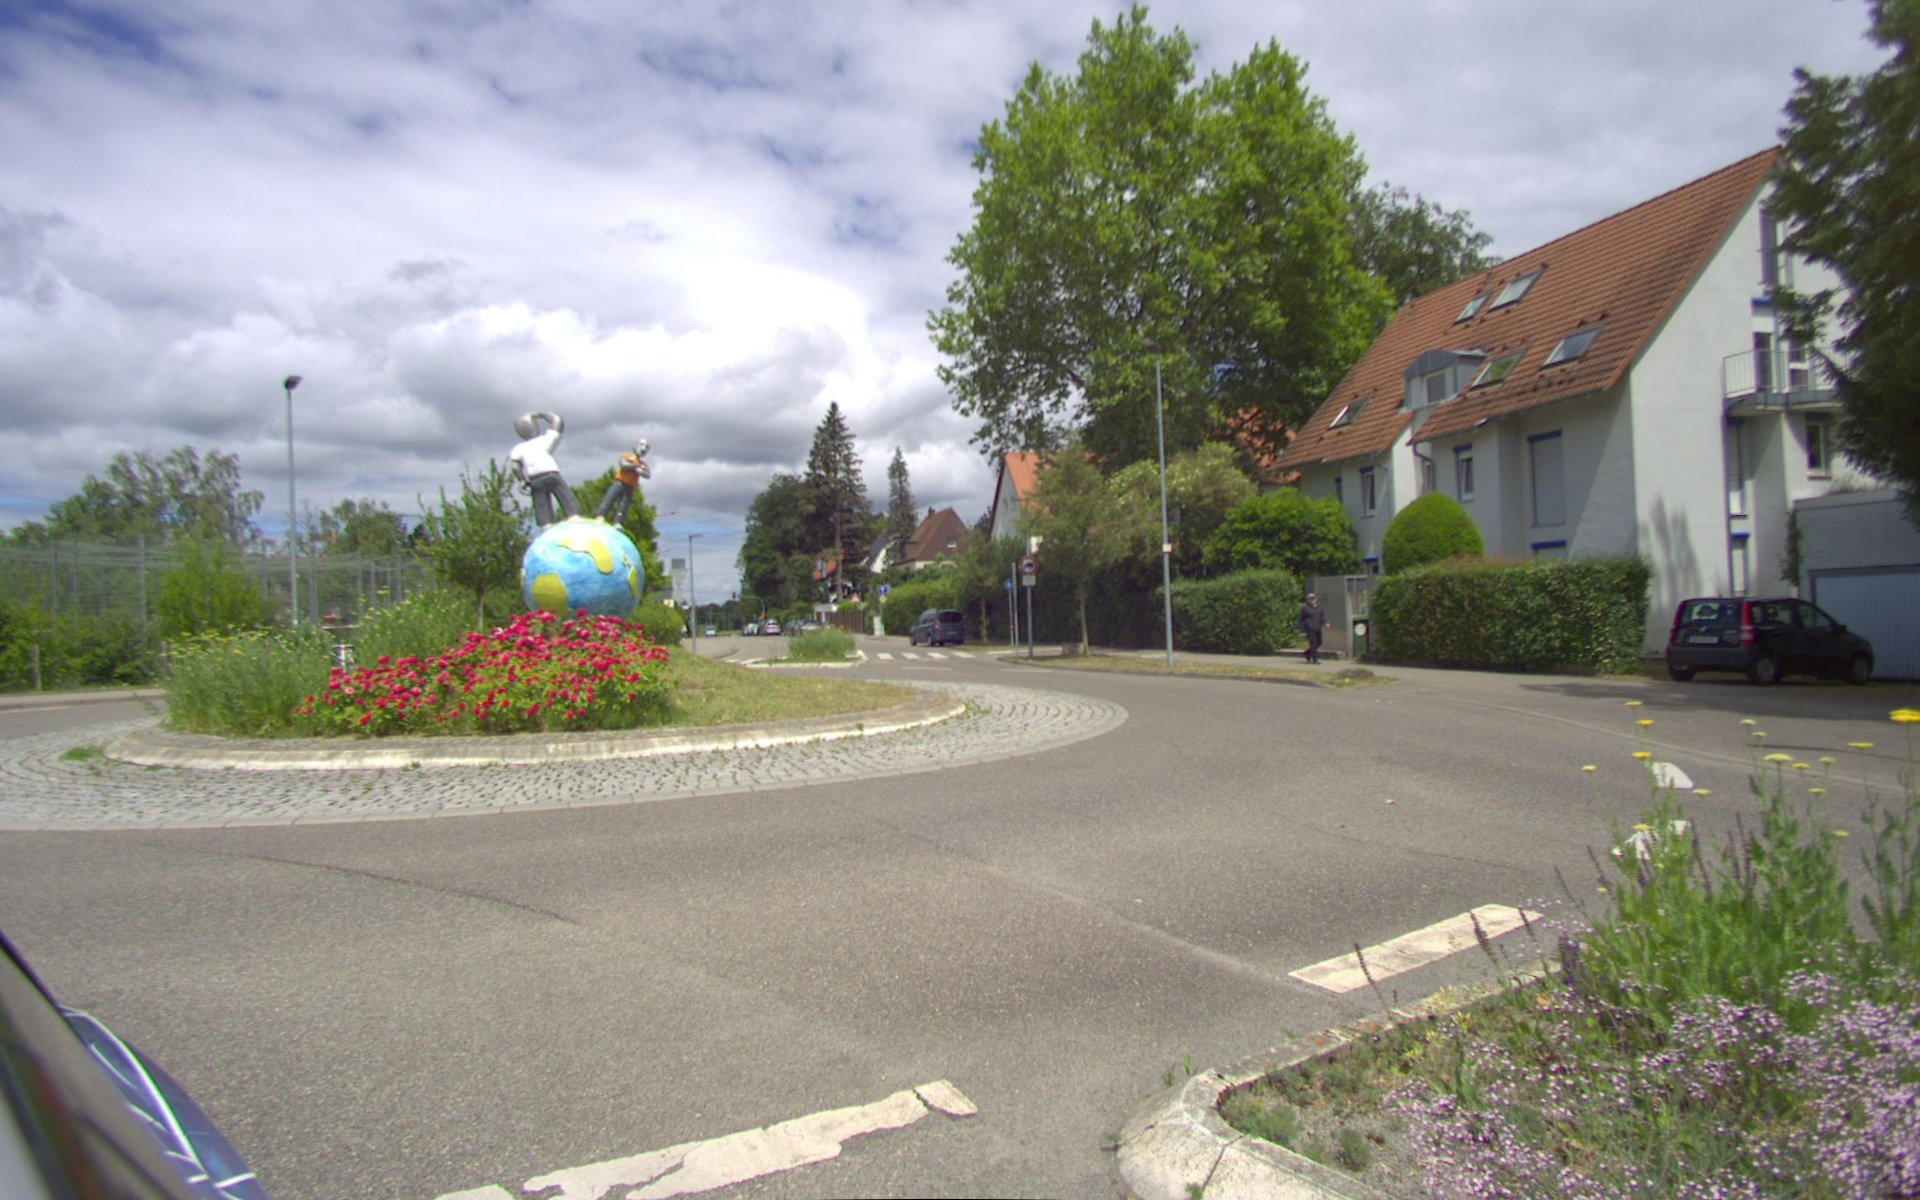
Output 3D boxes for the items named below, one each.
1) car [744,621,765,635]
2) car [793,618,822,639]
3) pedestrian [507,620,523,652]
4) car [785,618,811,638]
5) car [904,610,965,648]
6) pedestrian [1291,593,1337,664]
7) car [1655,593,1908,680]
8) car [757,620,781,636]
[{"bbox_3d":[-26.533,3.631,130.437,1.965,1.719,4.013,0,-1,-22],"label":"car"},{"bbox_3d":[-12.989,2.417,86.063,1.832,1.589,4.012,-2,0,-16],"label":"car"},{"bbox_3d":[-22.437,1.806,51.033,0.751,1.569,0.604,0,-1,-25],"label":"pedestrian"},{"bbox_3d":[-14.605,2.500,91.266,1.757,1.589,4.012,-2,0,-16],"label":"car"},{"bbox_3d":[-1.262,1.363,48.660,1.652,1.674,4.013,-1,0,-21],"label":"car"},{"bbox_3d":[8.707,0.692,24.915,0.733,1.704,0.696,-2,0,-15],"label":"pedestrian"},{"bbox_3d":[14.188,0.634,17.523,3.518,1.408,1.670,1,-1,-16],"label":"car"},{"bbox_3d":[-21.876,3.173,115.972,1.965,1.719,4.013,0,-1,-21],"label":"car"}]
